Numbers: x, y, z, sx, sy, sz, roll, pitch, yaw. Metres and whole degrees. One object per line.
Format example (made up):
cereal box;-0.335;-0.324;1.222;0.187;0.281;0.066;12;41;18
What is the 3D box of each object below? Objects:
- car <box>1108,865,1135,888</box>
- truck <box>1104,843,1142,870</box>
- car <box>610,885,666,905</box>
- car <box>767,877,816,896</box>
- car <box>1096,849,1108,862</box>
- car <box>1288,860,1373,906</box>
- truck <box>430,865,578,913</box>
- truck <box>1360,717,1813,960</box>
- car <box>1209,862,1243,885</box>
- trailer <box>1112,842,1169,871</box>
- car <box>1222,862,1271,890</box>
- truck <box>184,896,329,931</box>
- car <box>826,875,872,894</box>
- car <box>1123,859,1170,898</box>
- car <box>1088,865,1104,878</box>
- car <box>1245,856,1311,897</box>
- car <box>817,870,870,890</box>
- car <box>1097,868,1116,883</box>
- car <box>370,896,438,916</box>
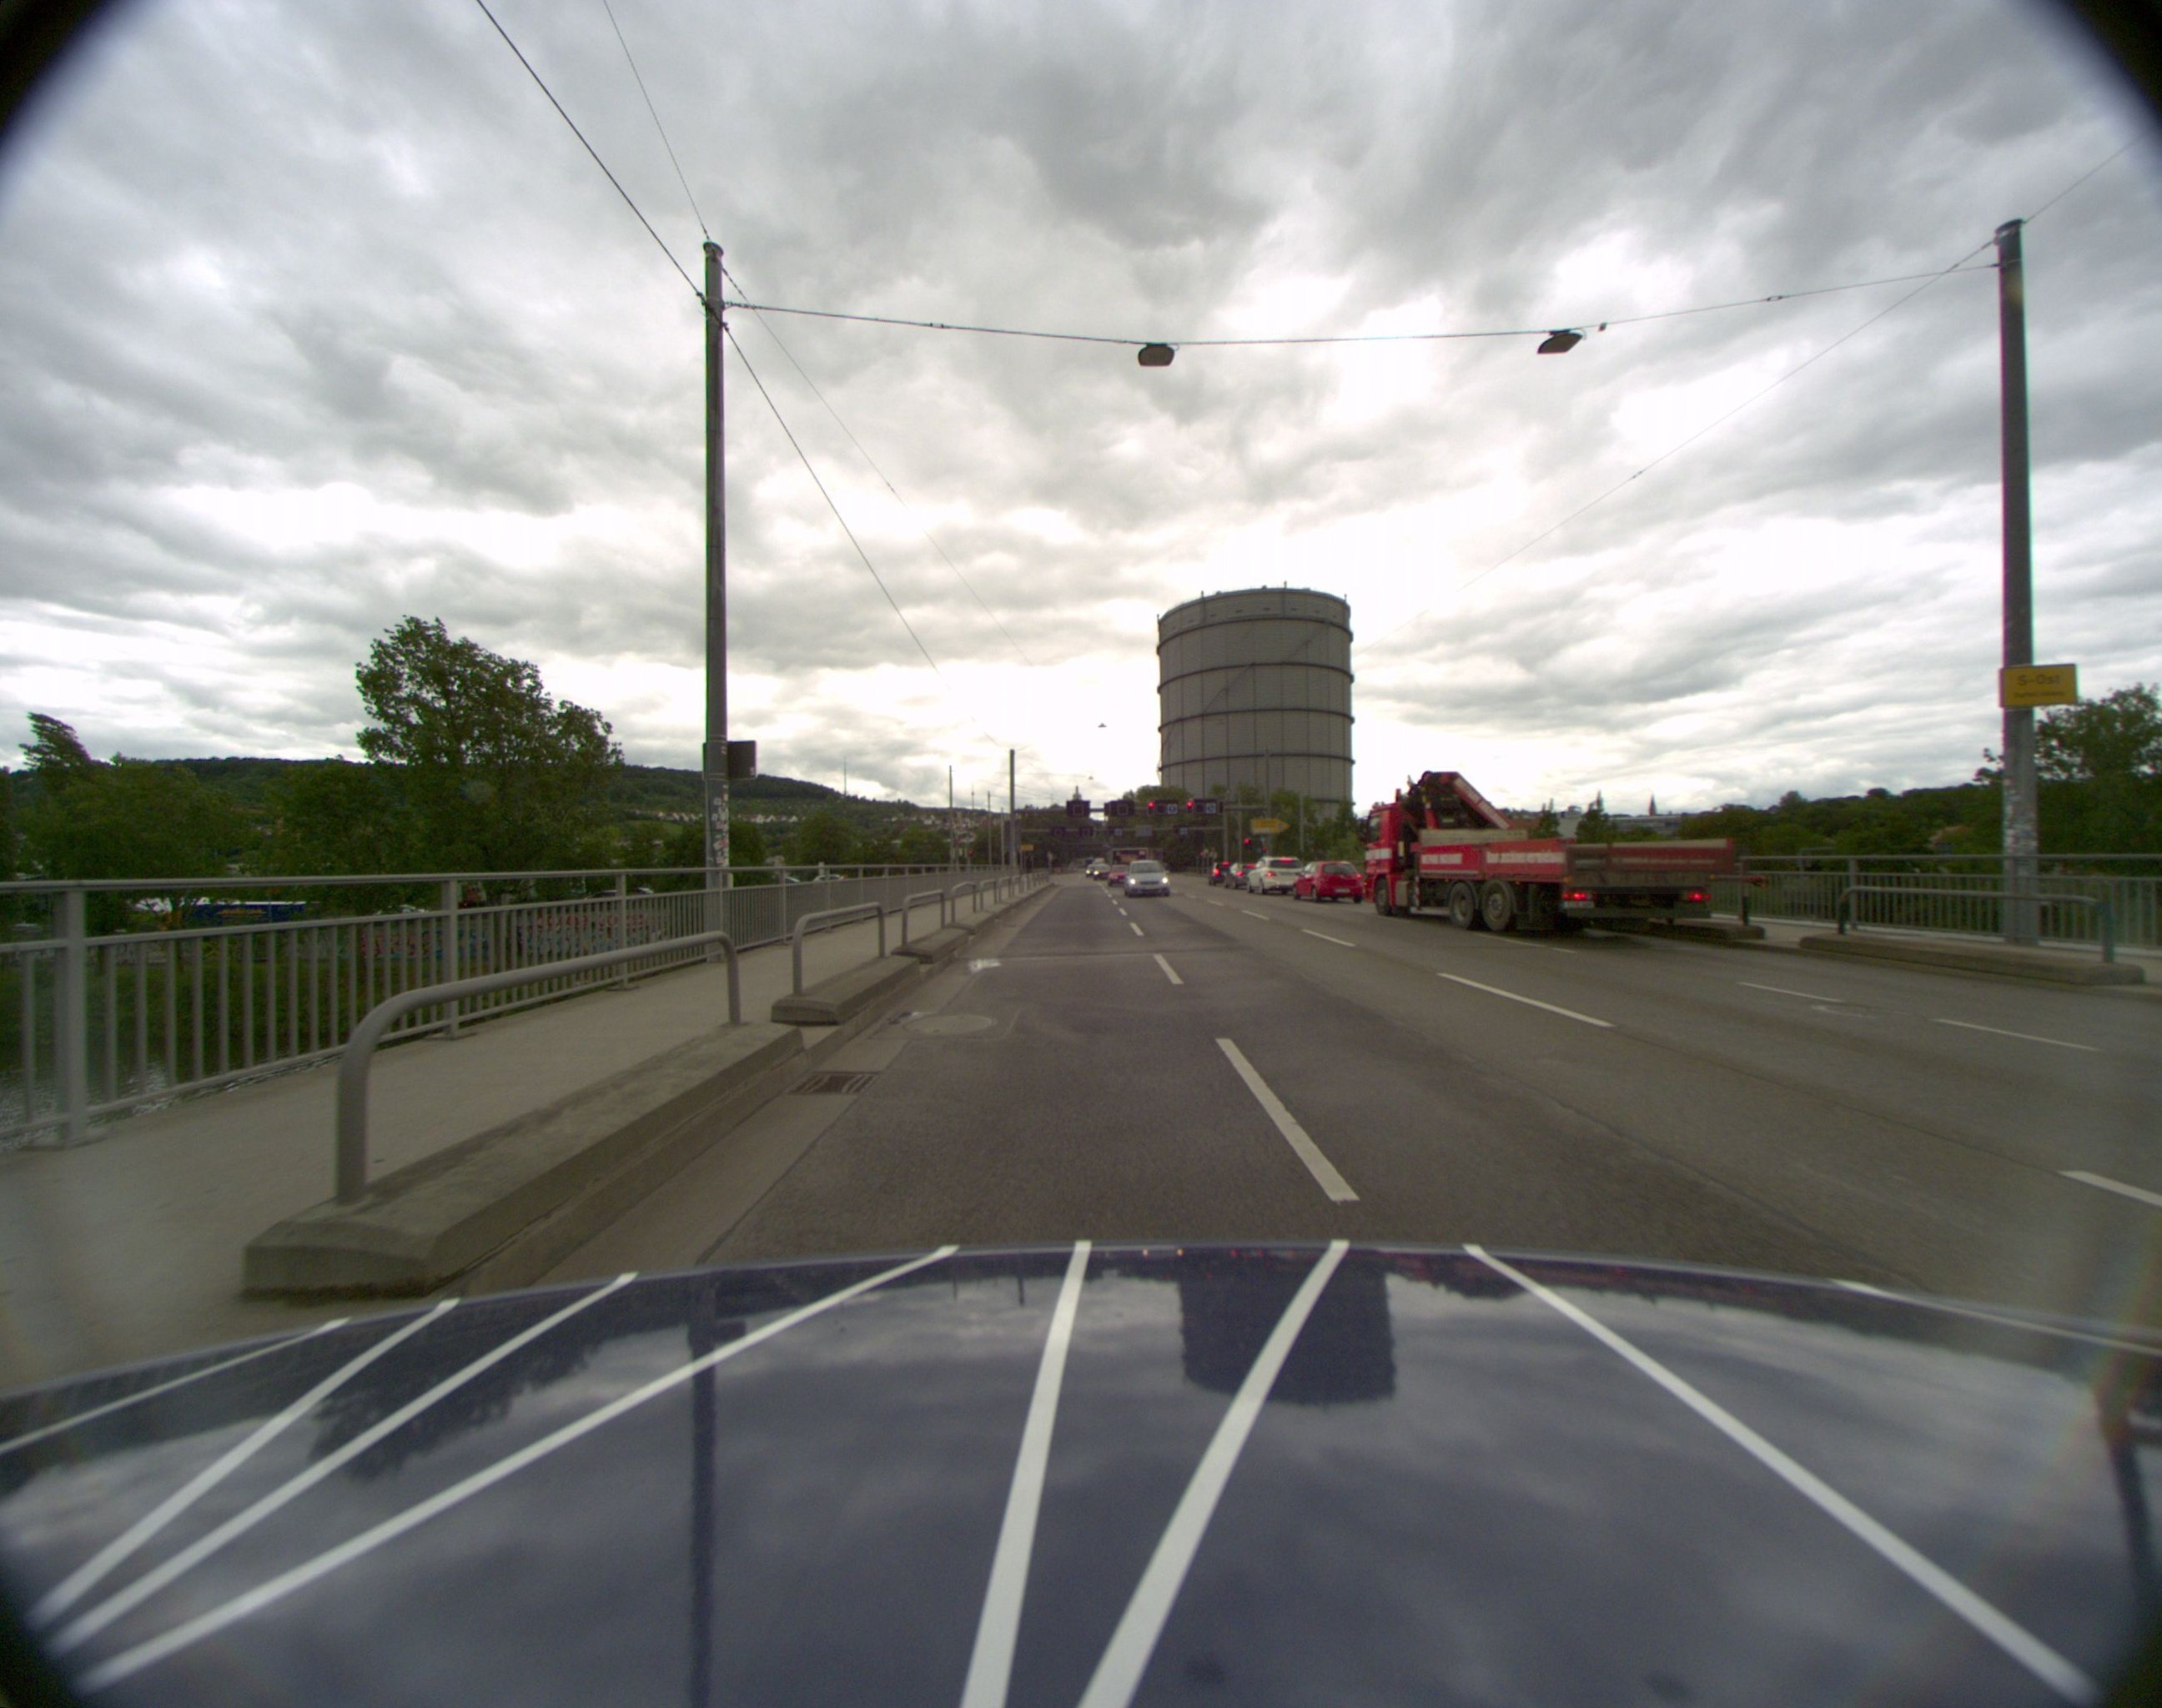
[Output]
car;2.791;1.515;51.941;1.746;1.454;3.956;0;-1;3
truck;7.173;0.426;131.045;3.676;4.295;7.222;2;-1;-22
car;-40.133;3.704;68.884;4.045;1.531;1.695;-3;0;-1
car;-26.331;2.958;69.246;3.757;1.531;1.695;-3;0;-1
car;4.064;0.304;150.259;2.331;2.509;4.949;1;0;1
car;9.193;1.011;28.315;1.884;1.593;4.015;0;0;0
truck;-51.695;3.092;68.306;10.423;3.856;3.226;-2;0;-3
truck;9.246;-0.186;16.125;3.013;3.544;9.982;0;0;0
car;9.733;1.273;51.201;1.839;1.495;3.872;0;0;4
trailer;9.522;0.414;124.584;3.676;4.295;13.756;2;-1;-21
car;9.405;1.233;43.438;1.840;1.495;4.517;0;0;0
truck;-103.839;7.480;95.847;14.418;3.893;3.381;1;0;0
car;-21.191;2.765;69.553;3.621;1.531;1.695;-3;0;-1
car;2.818;1.056;33.569;1.747;1.594;3.683;-1;-1;0
car;1.714;2.016;88.040;1.696;1.411;4.468;1;0;1
car;9.079;0.993;35.434;1.884;1.750;4.803;0;0;0
car;-22.592;2.469;72.526;4.339;1.610;1.999;-3;1;0
car;2.438;2.051;73.119;1.696;1.411;4.468;-1;-1;1
car;-62.746;4.812;70.482;4.390;1.531;1.921;-3;0;-1
